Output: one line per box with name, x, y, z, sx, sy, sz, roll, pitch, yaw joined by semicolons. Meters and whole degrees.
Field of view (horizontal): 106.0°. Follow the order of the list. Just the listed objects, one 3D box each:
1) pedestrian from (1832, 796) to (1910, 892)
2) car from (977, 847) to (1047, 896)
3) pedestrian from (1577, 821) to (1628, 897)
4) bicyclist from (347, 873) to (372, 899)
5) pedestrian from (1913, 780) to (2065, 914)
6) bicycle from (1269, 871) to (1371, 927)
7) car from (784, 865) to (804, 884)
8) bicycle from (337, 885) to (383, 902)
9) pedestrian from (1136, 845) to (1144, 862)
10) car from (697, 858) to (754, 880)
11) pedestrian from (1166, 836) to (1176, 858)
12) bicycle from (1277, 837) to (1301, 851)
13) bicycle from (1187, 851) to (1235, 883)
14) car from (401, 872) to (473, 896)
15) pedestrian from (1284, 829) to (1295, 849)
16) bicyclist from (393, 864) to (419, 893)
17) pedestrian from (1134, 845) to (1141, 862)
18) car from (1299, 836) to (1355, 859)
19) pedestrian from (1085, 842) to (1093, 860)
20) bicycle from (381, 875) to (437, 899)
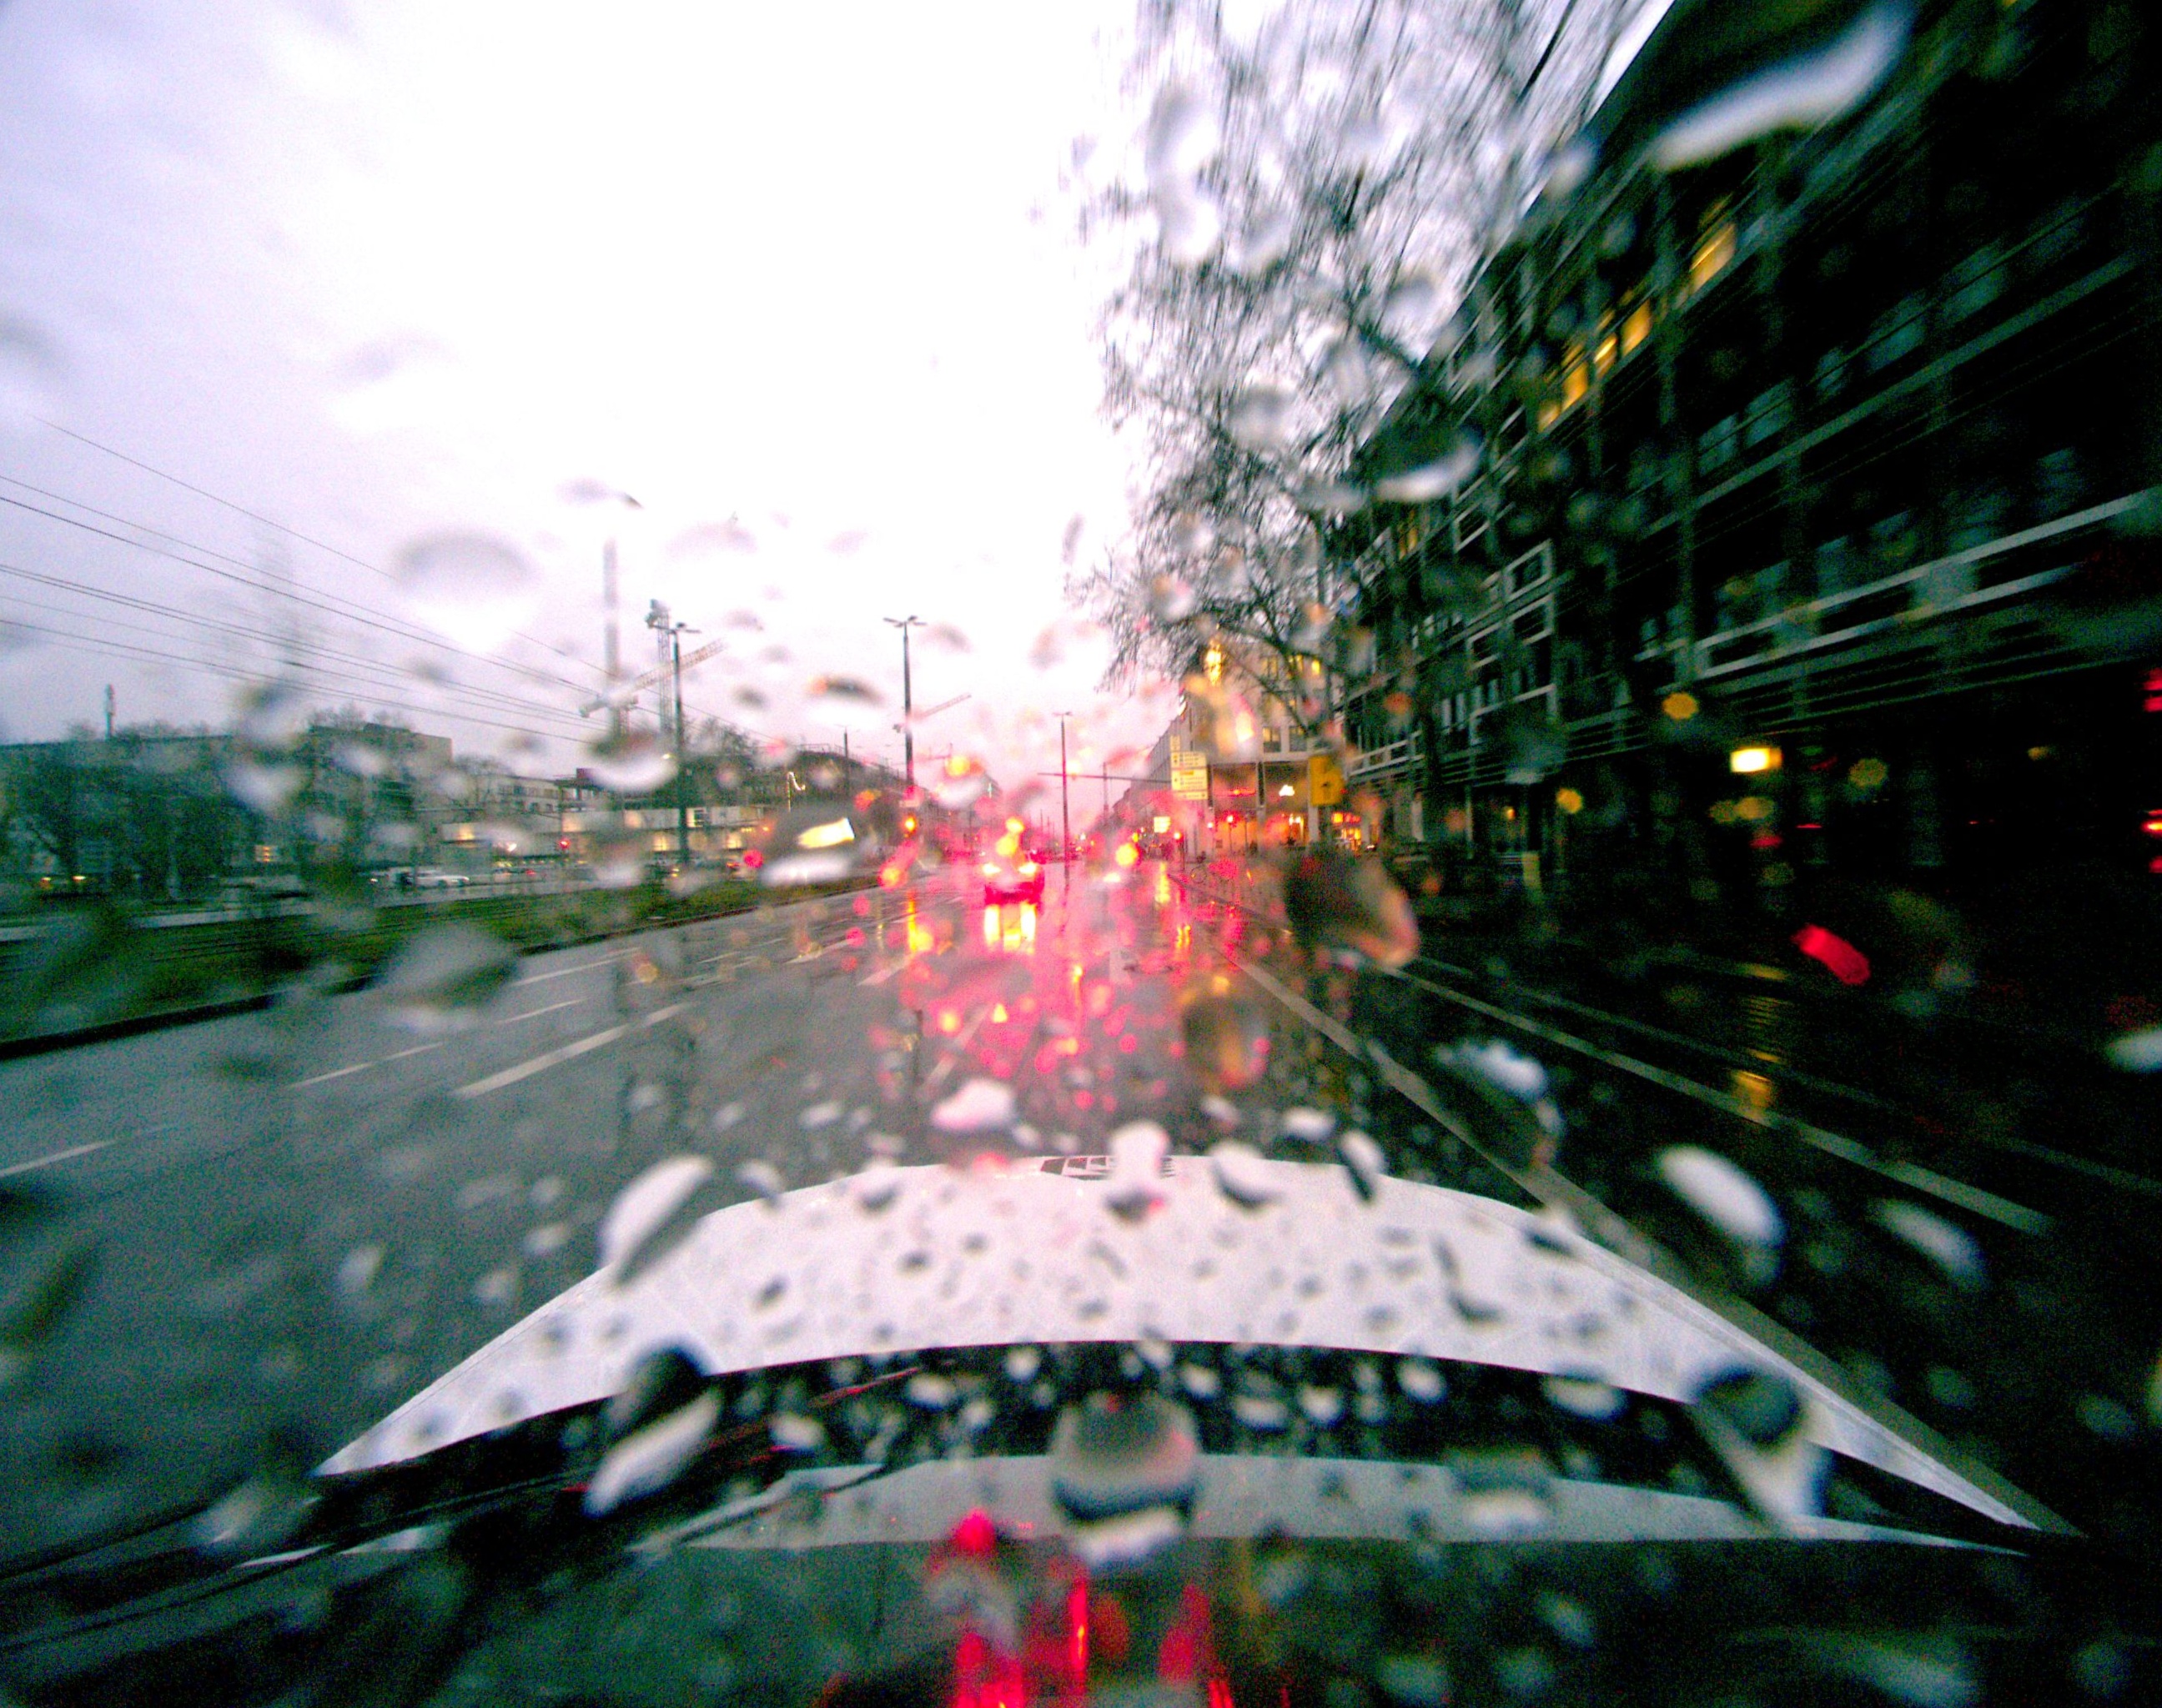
pedestrian;14.298;-0.179;14.758;0.613;1.656;0.781;-2;0;2
car;-2.349;0.556;28.966;1.902;1.520;4.925;-2;0;1
pedestrian;10.919;0.105;17.058;0.645;1.544;0.615;-2;0;3
bicyclist;-48.443;2.151;54.684;1.031;1.697;0.617;-2;0;-4
pedestrian;10.961;-0.082;9.863;0.860;1.524;0.838;-2;0;3
bicycle;4.725;0.878;16.159;1.782;0.974;0.617;-4;0;-2
car;-32.454;2.300;92.222;1.759;2.013;3.978;-2;0;-16
bicycle;-48.421;2.646;54.678;2.368;1.033;0.617;-2;0;-5
pedestrian;5.752;-0.042;79.700;0.704;1.619;0.613;-2;0;0
car;-31.094;1.319;71.283;1.974;1.750;4.026;-2;1;39
pedestrian;8.815;-0.690;79.509;0.691;2.087;0.606;-2;0;-38
bicycle;17.087;-0.802;66.758;1.830;1.093;0.620;-2;0;17
bicycle;5.158;0.526;32.359;1.746;1.148;0.435;-4;0;-3
car;-50.357;2.329;63.731;3.975;1.684;1.999;-2;0;-1
pedestrian;17.088;-1.235;66.745;0.774;1.595;0.616;-2;0;18
bicyclist;-44.610;1.614;53.841;0.992;1.839;0.719;-3;0;-7
pedestrian;5.619;-0.057;80.951;0.703;1.619;0.681;-2;0;4
car;20.904;-0.546;69.278;4.282;1.761;1.710;-2;0;5
pedestrian;0.802;-0.309;82.773;0.700;1.760;0.668;-2;0;2
bicycle;-44.416;2.182;53.857;2.828;1.362;0.719;-3;0;-7
